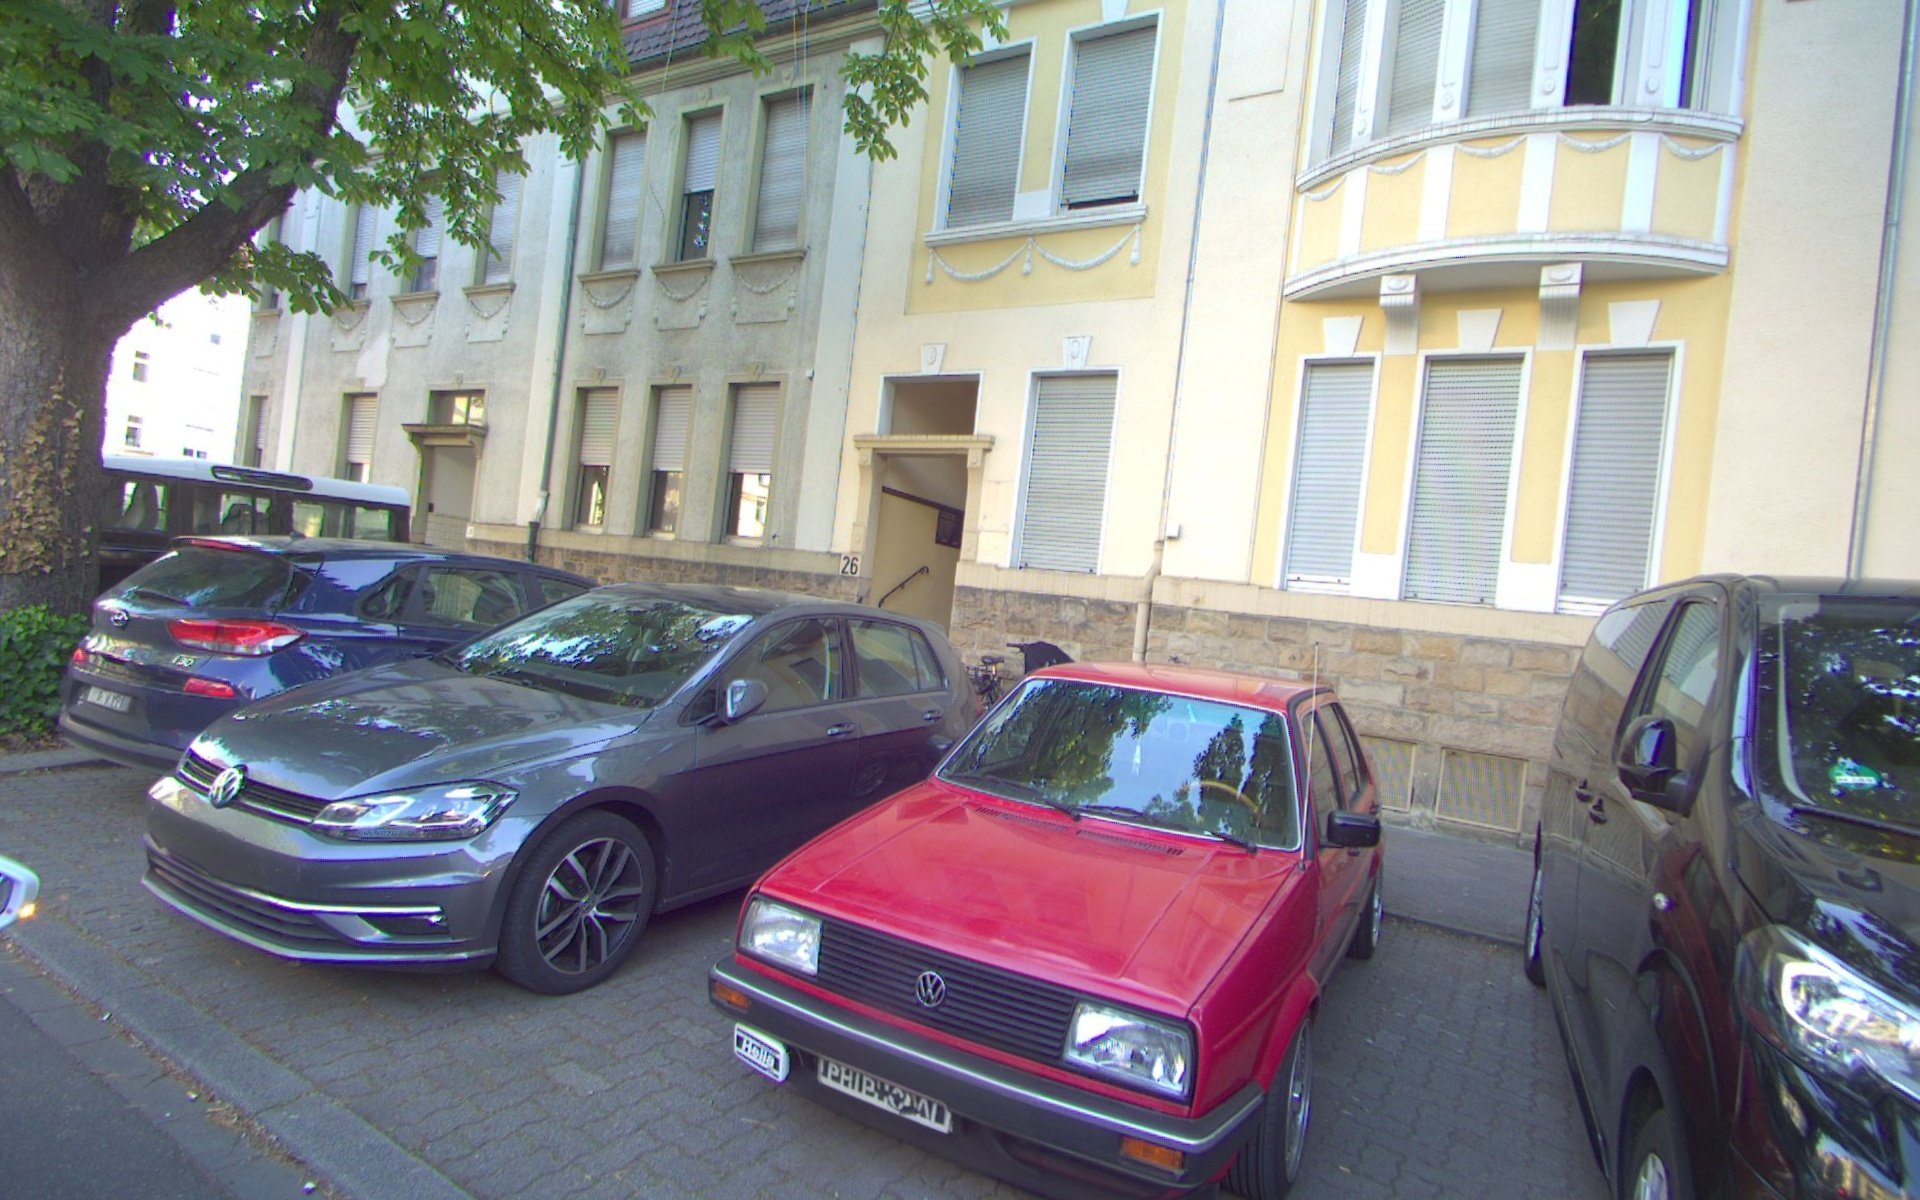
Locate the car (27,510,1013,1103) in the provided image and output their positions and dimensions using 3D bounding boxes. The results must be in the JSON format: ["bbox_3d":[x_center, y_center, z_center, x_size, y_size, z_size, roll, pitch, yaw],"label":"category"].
[{"bbox_3d":[-1.432,0.625,4.816,1.693,1.470,4.060,6,0,28],"label":"car"}]

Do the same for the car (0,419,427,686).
[{"bbox_3d":[-7.593,-0.364,9.235,1.671,2.061,4.473,6,0,28],"label":"car"}]

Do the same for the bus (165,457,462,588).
[{"bbox_3d":[-21.932,-2.487,34.830,2.859,3.240,8.199,7,-1,24],"label":"bus"}]

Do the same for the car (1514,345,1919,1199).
[{"bbox_3d":[2.852,0.873,2.877,1.864,1.898,4.759,6,0,27],"label":"car"}]

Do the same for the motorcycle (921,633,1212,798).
[{"bbox_3d":[0.955,1.001,9.395,2.439,1.087,0.959,7,2,32],"label":"motorcycle"}]

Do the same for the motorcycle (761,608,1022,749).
[{"bbox_3d":[-0.791,0.780,10.784,2.822,1.087,0.694,7,2,31],"label":"motorcycle"}]

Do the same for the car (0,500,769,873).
[{"bbox_3d":[-3.086,0.428,6.198,1.679,1.470,3.730,6,0,28],"label":"car"}]

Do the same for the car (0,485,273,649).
[{"bbox_3d":[-9.988,-0.381,10.936,1.679,1.589,3.730,6,0,28],"label":"car"}]

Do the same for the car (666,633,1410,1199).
[{"bbox_3d":[0.875,0.949,4.304,1.601,1.332,4.144,6,0,27],"label":"car"}]
